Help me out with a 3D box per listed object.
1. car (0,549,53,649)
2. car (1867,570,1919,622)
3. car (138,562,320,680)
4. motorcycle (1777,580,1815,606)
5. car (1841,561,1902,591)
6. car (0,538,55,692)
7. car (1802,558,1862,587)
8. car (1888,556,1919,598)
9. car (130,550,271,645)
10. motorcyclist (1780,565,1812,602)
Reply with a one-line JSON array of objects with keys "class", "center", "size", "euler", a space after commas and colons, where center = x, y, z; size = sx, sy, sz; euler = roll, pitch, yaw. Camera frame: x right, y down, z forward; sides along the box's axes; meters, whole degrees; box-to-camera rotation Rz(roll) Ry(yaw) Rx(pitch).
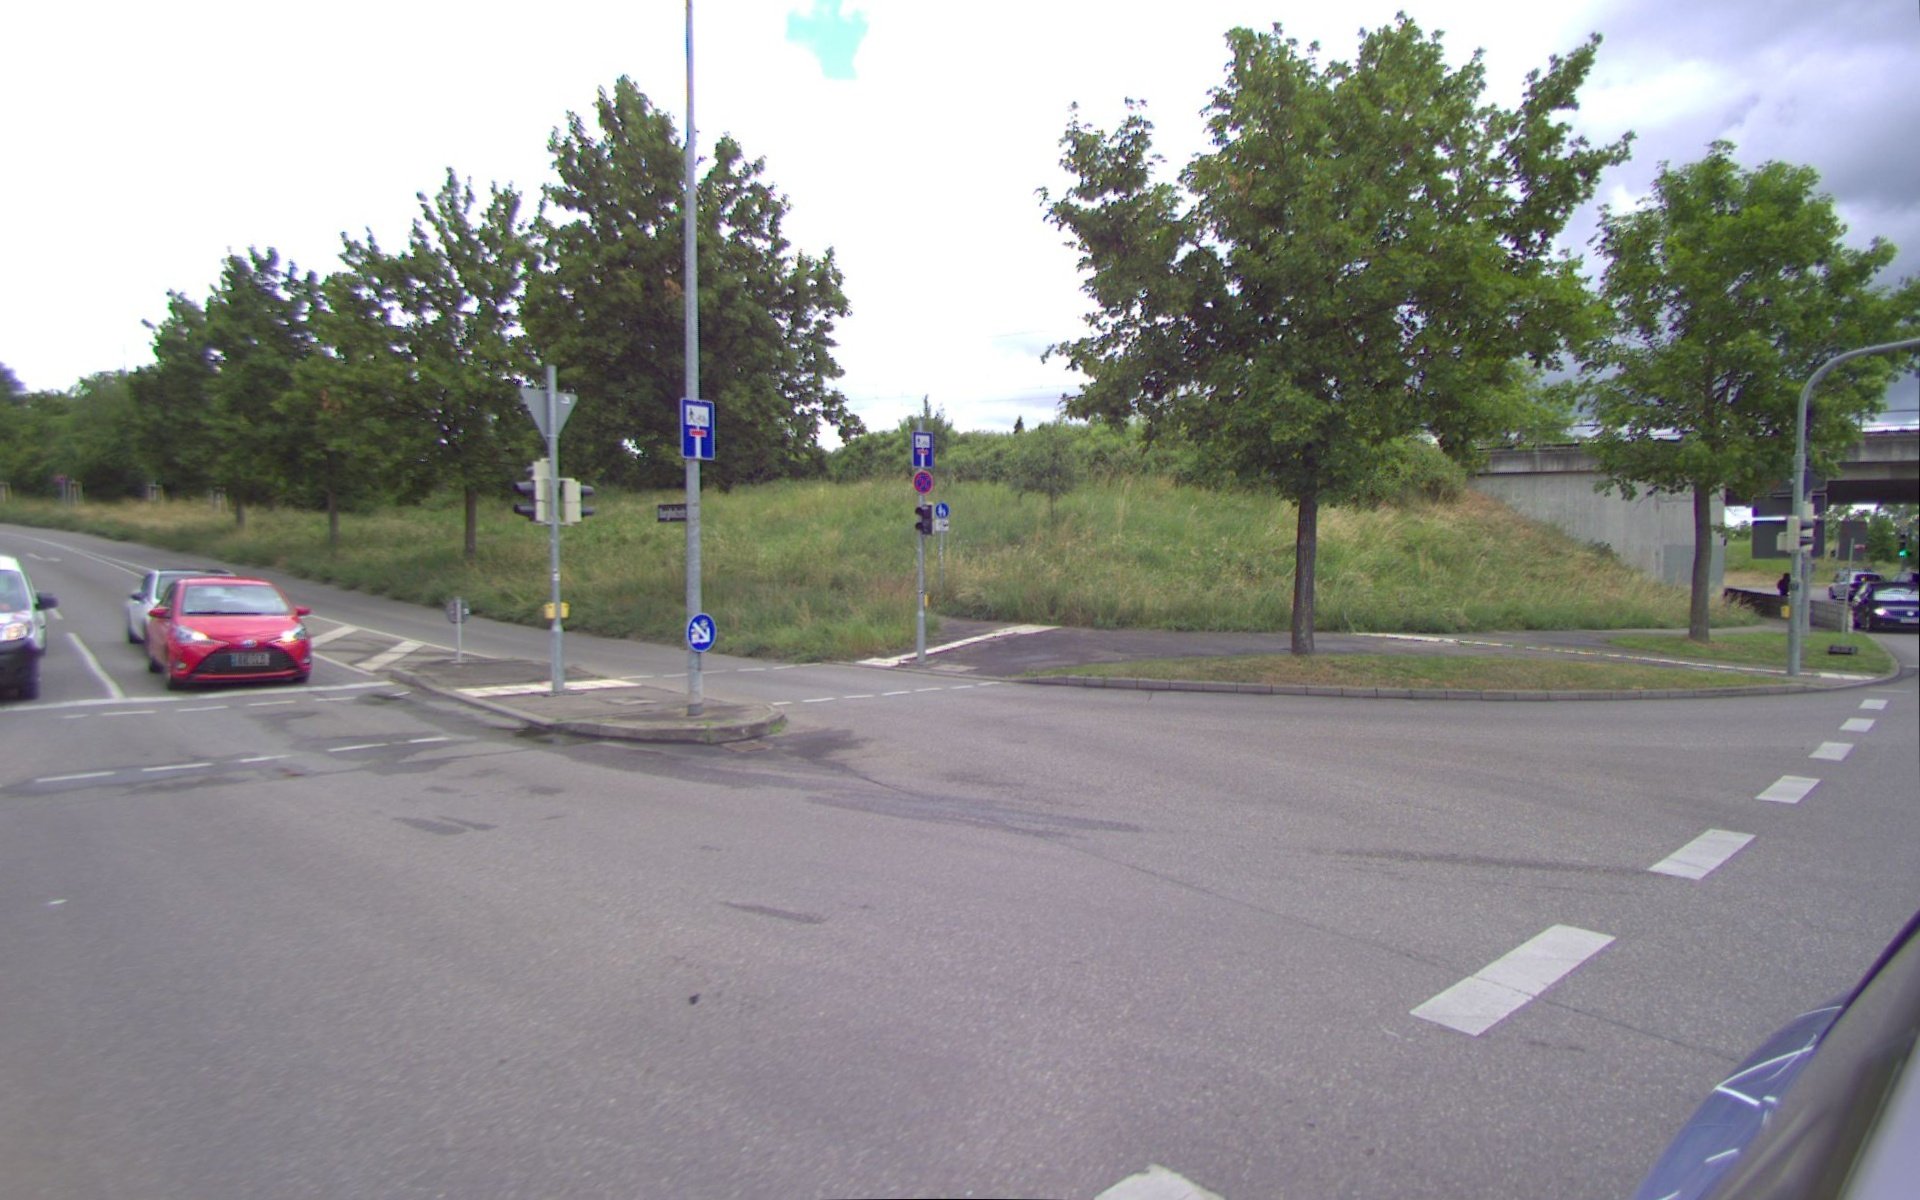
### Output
[{"class": "car", "center": [-17.164, -0.072, 17.619], "size": [1.934, 1.472, 3.826], "euler": [-1, 5, -43]}, {"class": "car", "center": [30.109, -0.172, 32.029], "size": [1.750, 1.560, 3.947], "euler": [0, 1, 37]}, {"class": "car", "center": [-11.029, 0.206, 15.179], "size": [1.731, 1.515, 3.825], "euler": [-1, 3, -43]}, {"class": "motorcycle", "center": [37.129, -0.307, 44.963], "size": [0.875, 1.118, 2.337], "euler": [0, 1, 29]}, {"class": "car", "center": [48.050, -1.264, 53.400], "size": [1.747, 1.533, 3.843], "euler": [0, 1, 33]}, {"class": "car", "center": [-13.314, 0.111, 13.354], "size": [1.920, 1.822, 4.713], "euler": [-1, 3, -43]}, {"class": "car", "center": [51.658, -1.637, 60.049], "size": [1.744, 1.640, 4.329], "euler": [0, 1, 28]}, {"class": "car", "center": [43.165, -1.025, 44.996], "size": [1.949, 1.813, 3.959], "euler": [0, 1, 30]}, {"class": "car", "center": [-14.828, -0.140, 19.678], "size": [1.731, 1.472, 4.306], "euler": [-1, 5, -43]}, {"class": "motorcyclist", "center": [37.102, -0.746, 44.911], "size": [0.875, 1.625, 1.231], "euler": [0, 1, 29]}]
